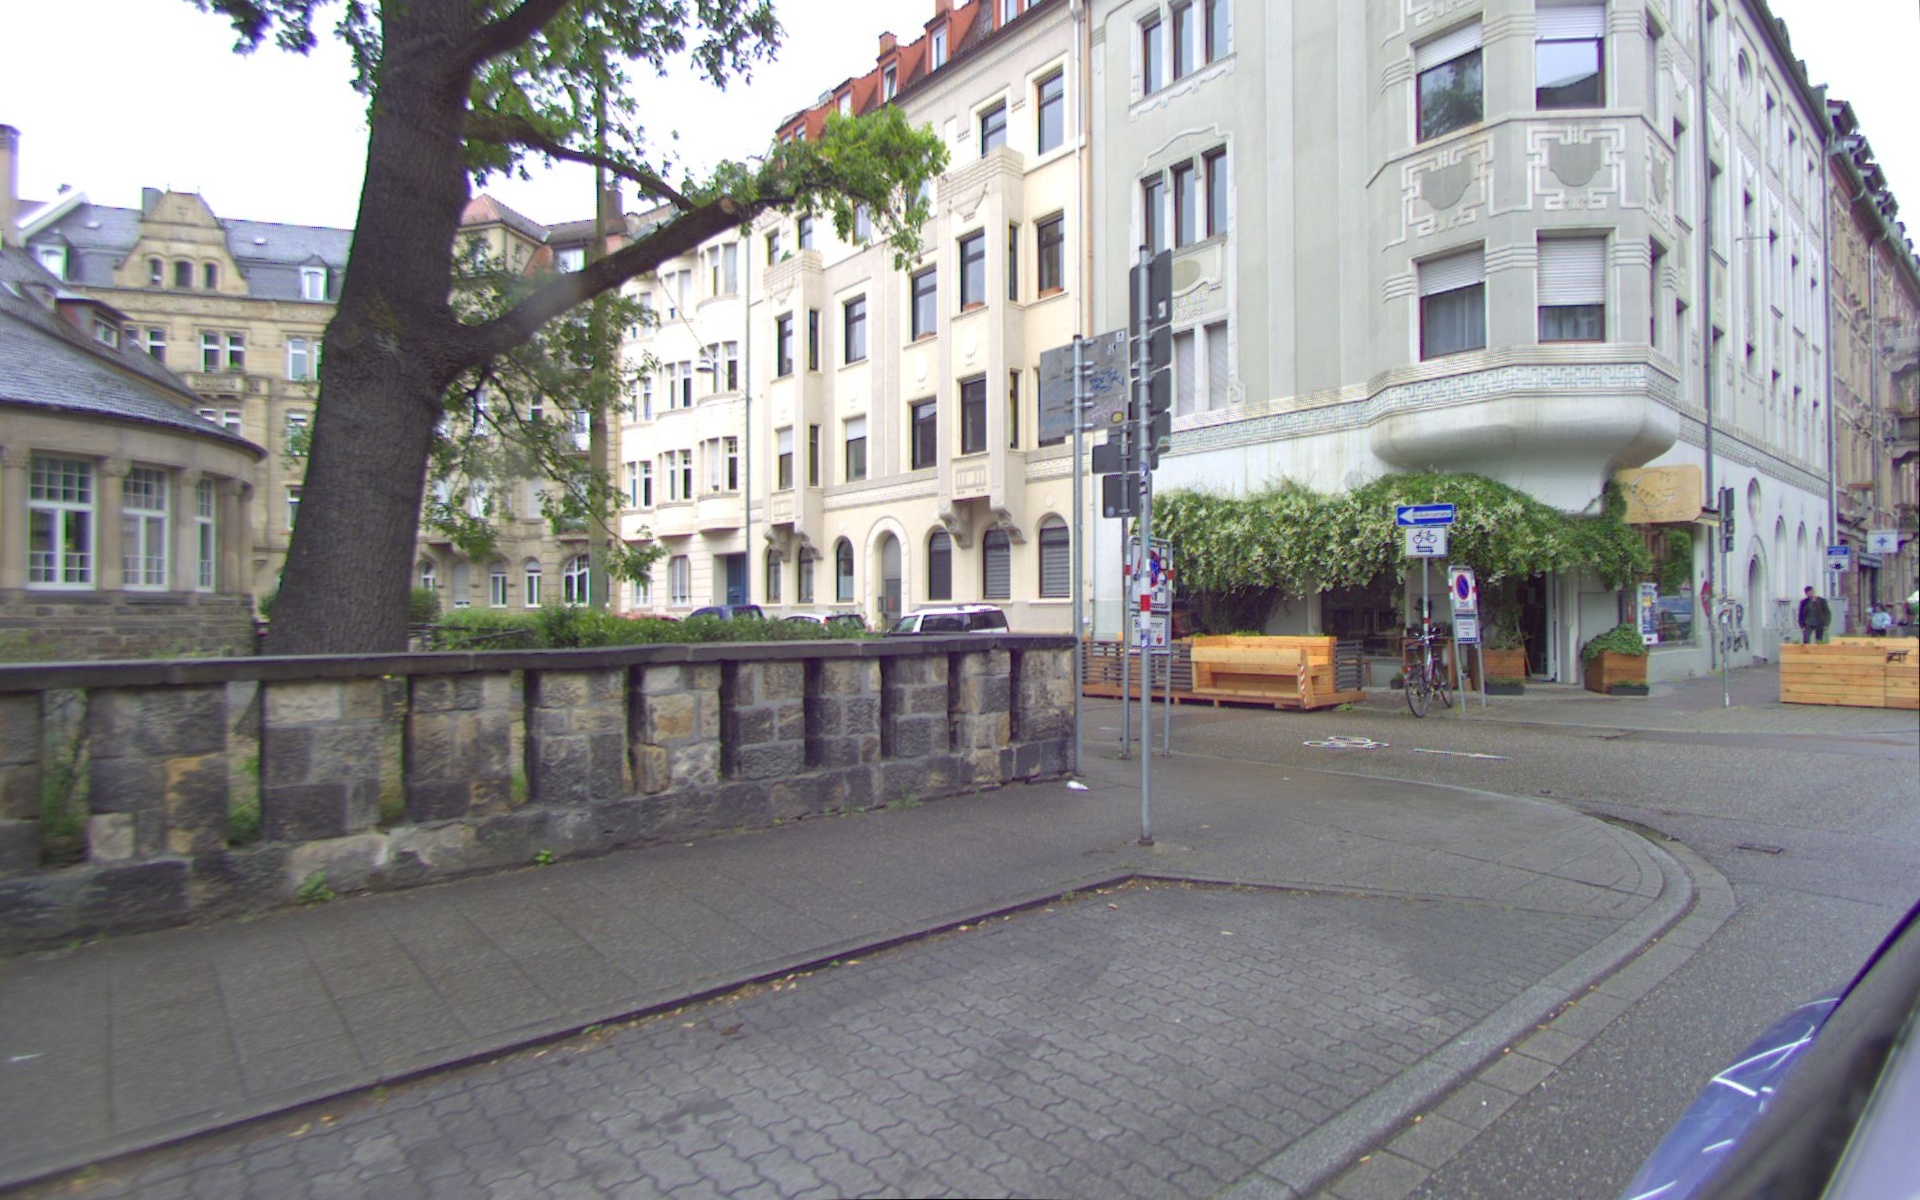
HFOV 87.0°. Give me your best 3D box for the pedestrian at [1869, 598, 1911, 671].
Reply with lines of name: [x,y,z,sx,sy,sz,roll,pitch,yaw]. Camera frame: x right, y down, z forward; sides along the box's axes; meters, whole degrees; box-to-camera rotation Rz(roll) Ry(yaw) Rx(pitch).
pedestrian: [26.763,0.982,29.125,0.408,2.039,0.826,-2,0,-40]

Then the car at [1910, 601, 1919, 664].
car: [23.629,0.753,23.703,3.641,1.418,1.712,0,1,-42]

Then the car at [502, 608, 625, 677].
car: [-10.022,1.012,25.406,1.684,1.576,3.969,2,-2,-40]

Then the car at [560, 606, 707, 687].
car: [-7.077,0.938,21.738,1.684,1.576,3.848,2,-2,-40]

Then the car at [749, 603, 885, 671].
car: [-3.955,0.962,27.588,1.784,1.608,3.847,-4,2,-41]

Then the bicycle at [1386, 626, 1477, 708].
bicycle: [6.869,0.936,14.696,1.888,0.991,0.452,-4,2,-42]

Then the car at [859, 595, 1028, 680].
car: [-0.446,0.809,23.485,1.784,1.719,3.846,-4,2,-42]

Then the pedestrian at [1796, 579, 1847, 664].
pedestrian: [20.515,0.500,24.099,0.408,1.975,0.826,-2,0,-40]

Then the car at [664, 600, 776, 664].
car: [-7.477,0.950,31.342,1.783,1.801,3.847,-1,0,-41]
